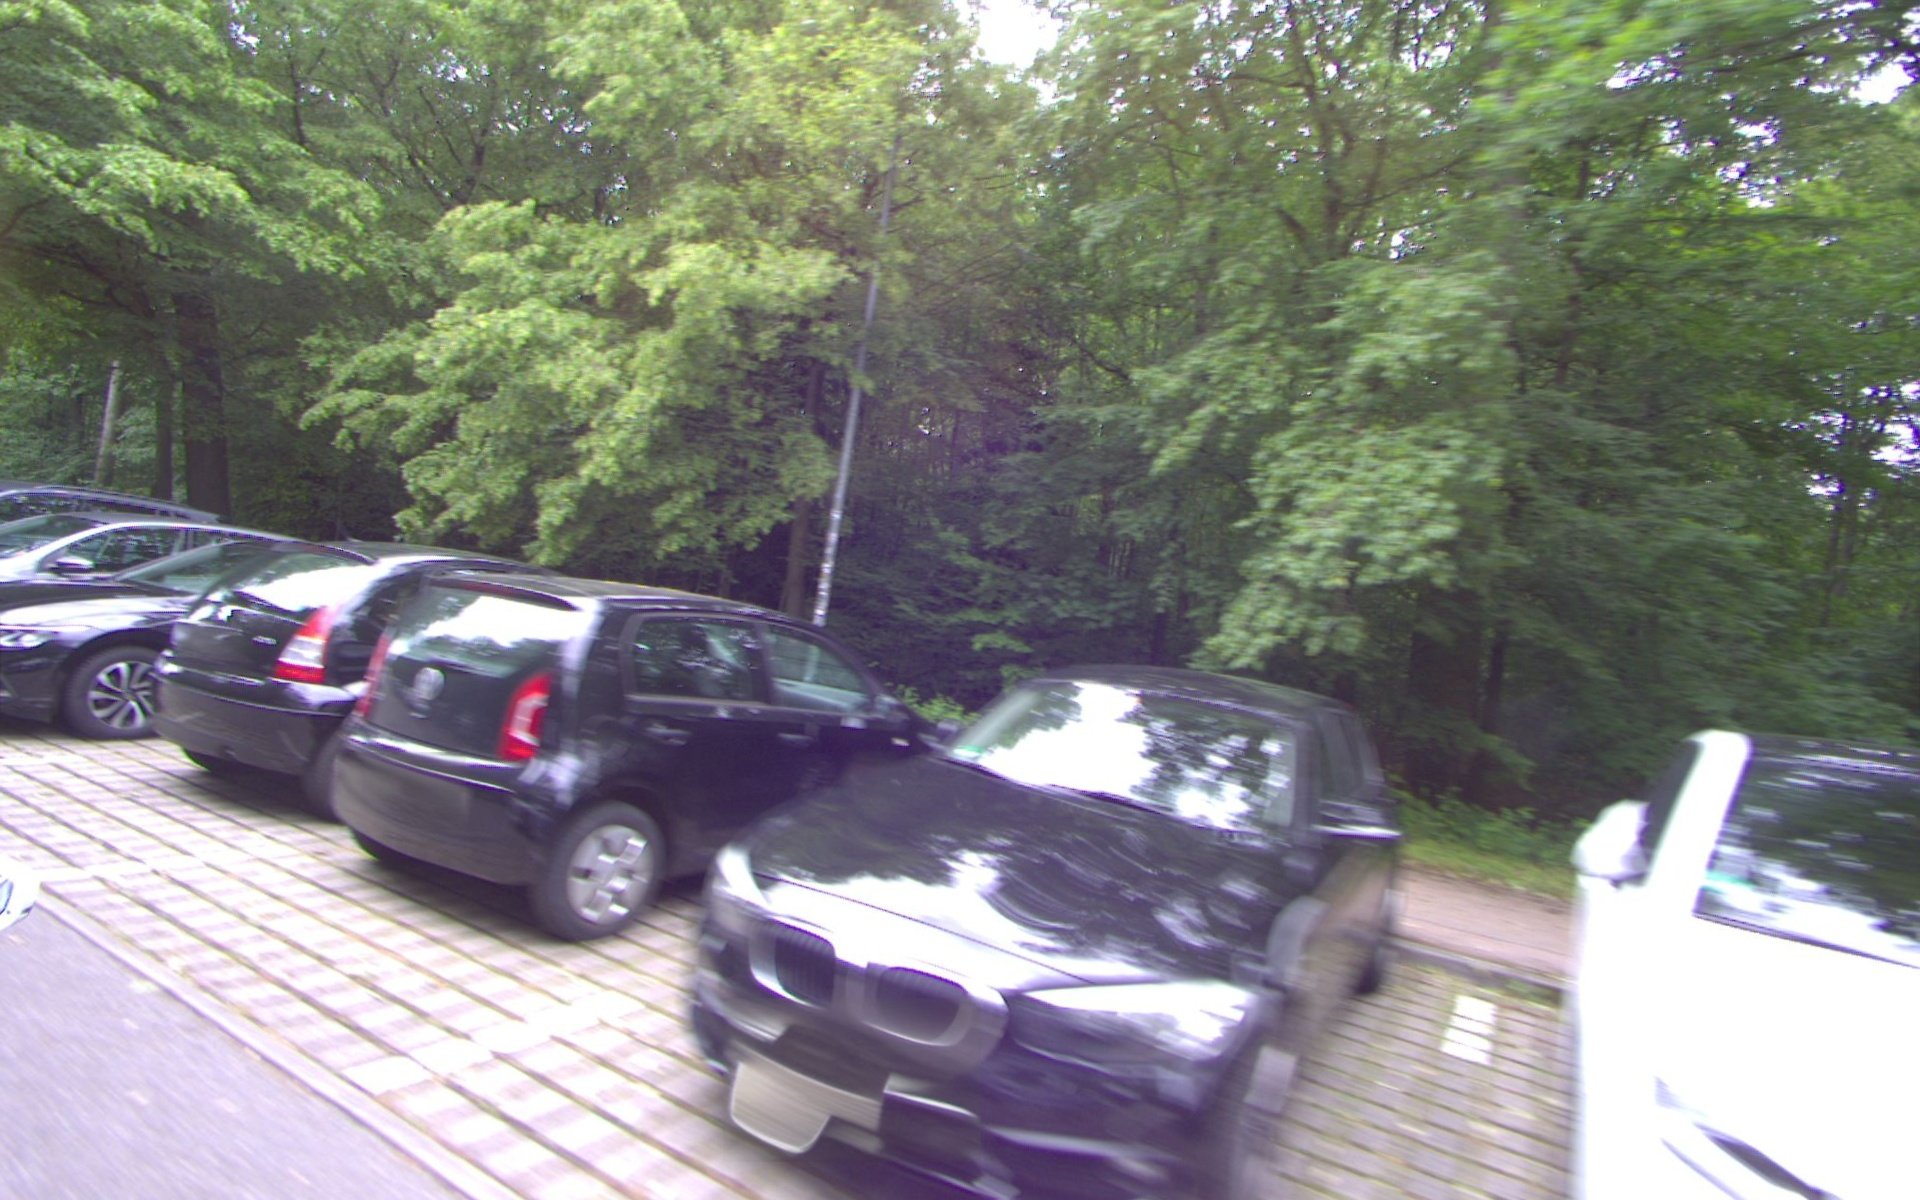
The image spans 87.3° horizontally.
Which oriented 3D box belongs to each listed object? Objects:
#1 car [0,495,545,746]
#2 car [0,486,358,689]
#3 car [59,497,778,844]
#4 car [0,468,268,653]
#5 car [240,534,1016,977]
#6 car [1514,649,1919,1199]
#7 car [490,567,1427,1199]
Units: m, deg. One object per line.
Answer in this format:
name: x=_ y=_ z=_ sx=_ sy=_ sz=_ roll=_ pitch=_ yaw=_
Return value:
car: x=-5.700 y=0.196 z=7.977 sx=1.919 sy=1.492 sz=3.997 roll=7 pitch=-2 yaw=30
car: x=-8.045 y=-0.134 z=9.062 sx=1.940 sy=1.569 sz=4.001 roll=7 pitch=-2 yaw=23
car: x=-3.263 y=0.440 z=6.867 sx=1.819 sy=1.549 sz=3.835 roll=7 pitch=-1 yaw=29
car: x=-10.124 y=-0.519 z=10.479 sx=1.924 sy=1.685 sz=4.277 roll=7 pitch=-2 yaw=28
car: x=-1.416 y=0.689 z=5.690 sx=1.778 sy=1.474 sz=3.834 roll=7 pitch=-1 yaw=31
car: x=2.799 y=1.182 z=2.783 sx=1.945 sy=1.577 sz=4.015 roll=8 pitch=-1 yaw=33
car: x=0.640 y=0.984 z=4.079 sx=1.860 sy=1.529 sz=4.198 roll=8 pitch=-1 yaw=29
